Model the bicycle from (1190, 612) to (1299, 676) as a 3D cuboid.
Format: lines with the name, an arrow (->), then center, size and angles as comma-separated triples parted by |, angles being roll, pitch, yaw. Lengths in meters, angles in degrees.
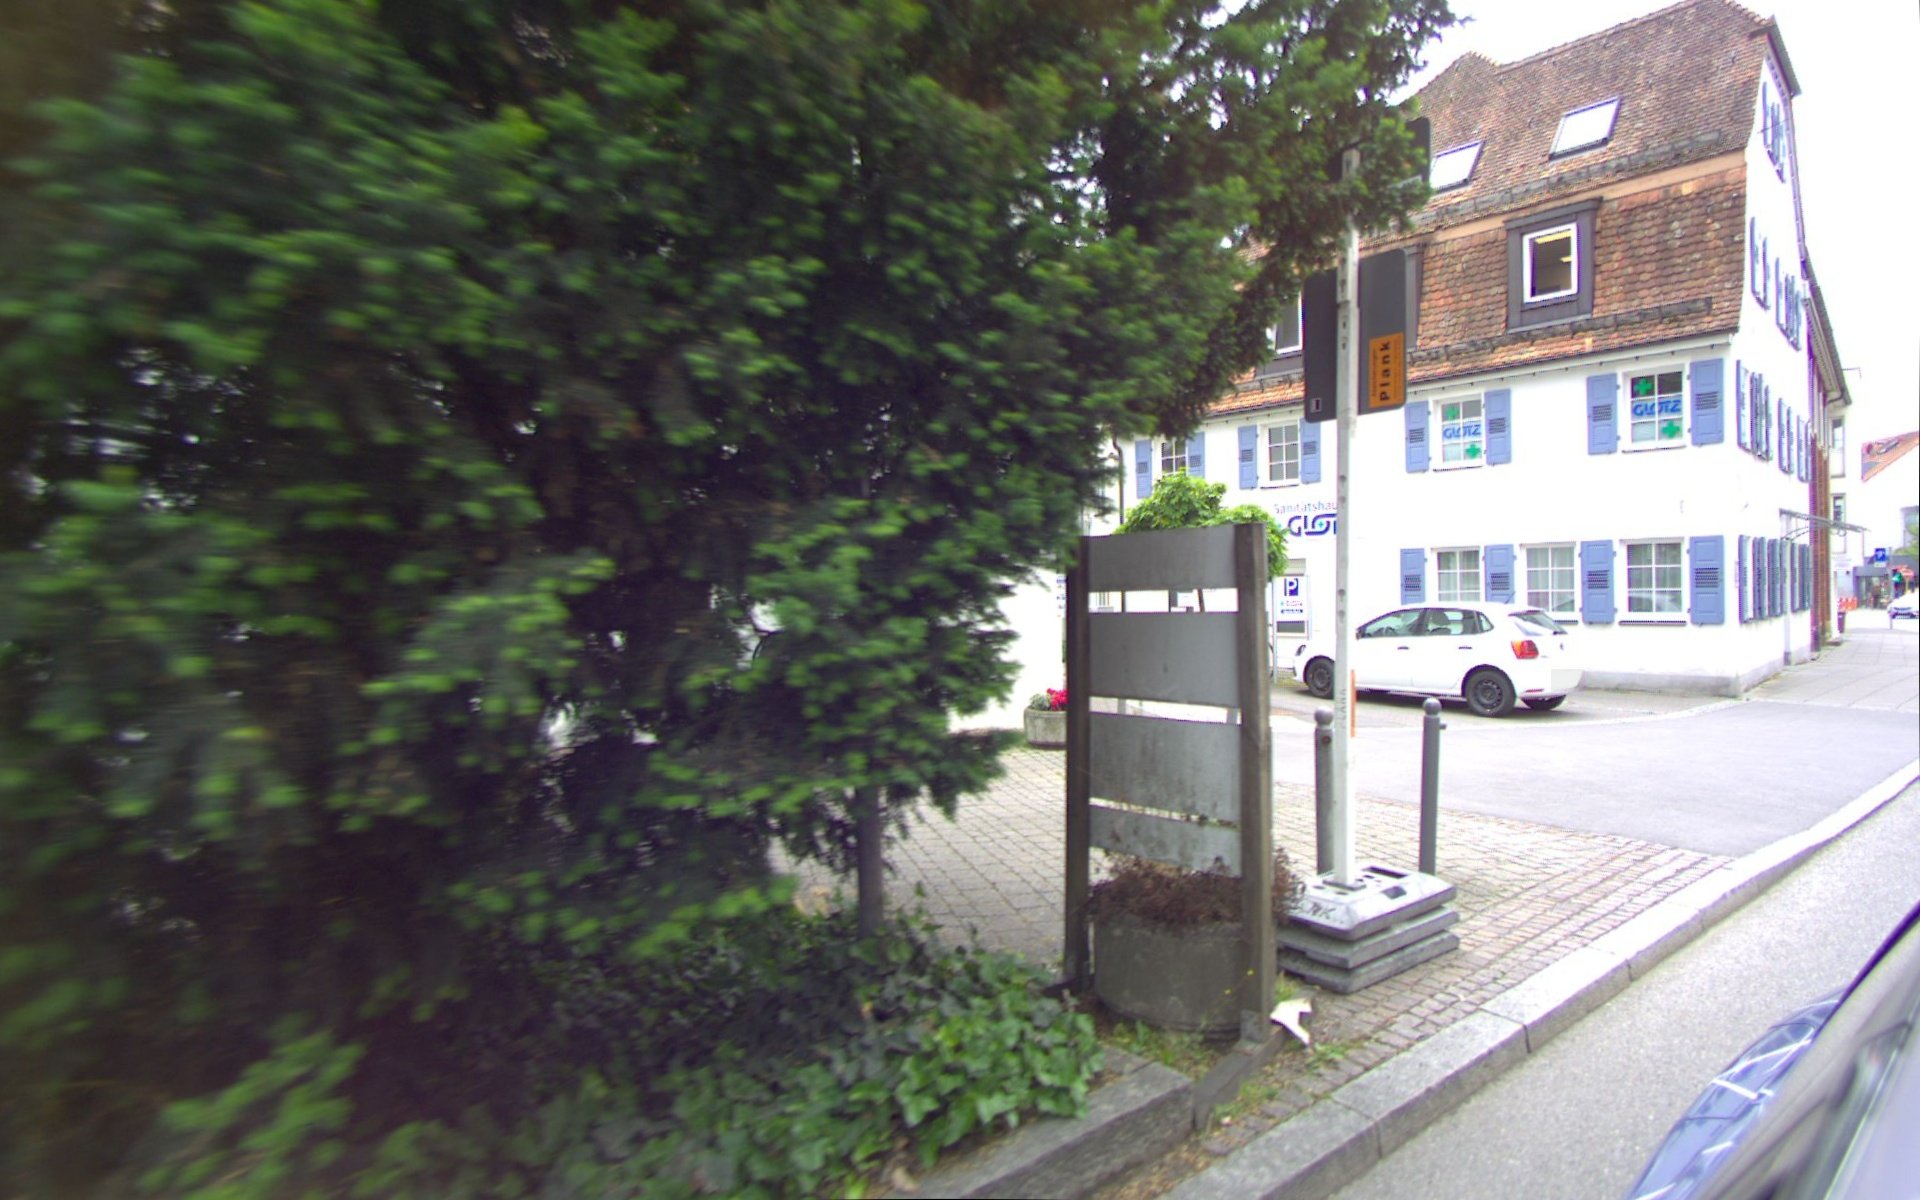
bicycle -> 5.112, 0.769, 18.293 | 0.604, 1.074, 1.916 | 1, -1, -37

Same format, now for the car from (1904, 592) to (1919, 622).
car -> 57.235, 0.366, 59.837 | 1.995, 1.648, 3.938 | -2, 0, 43

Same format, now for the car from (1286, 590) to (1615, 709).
car -> 6.827, 0.590, 14.429 | 1.862, 1.436, 3.804 | -1, 1, -35
